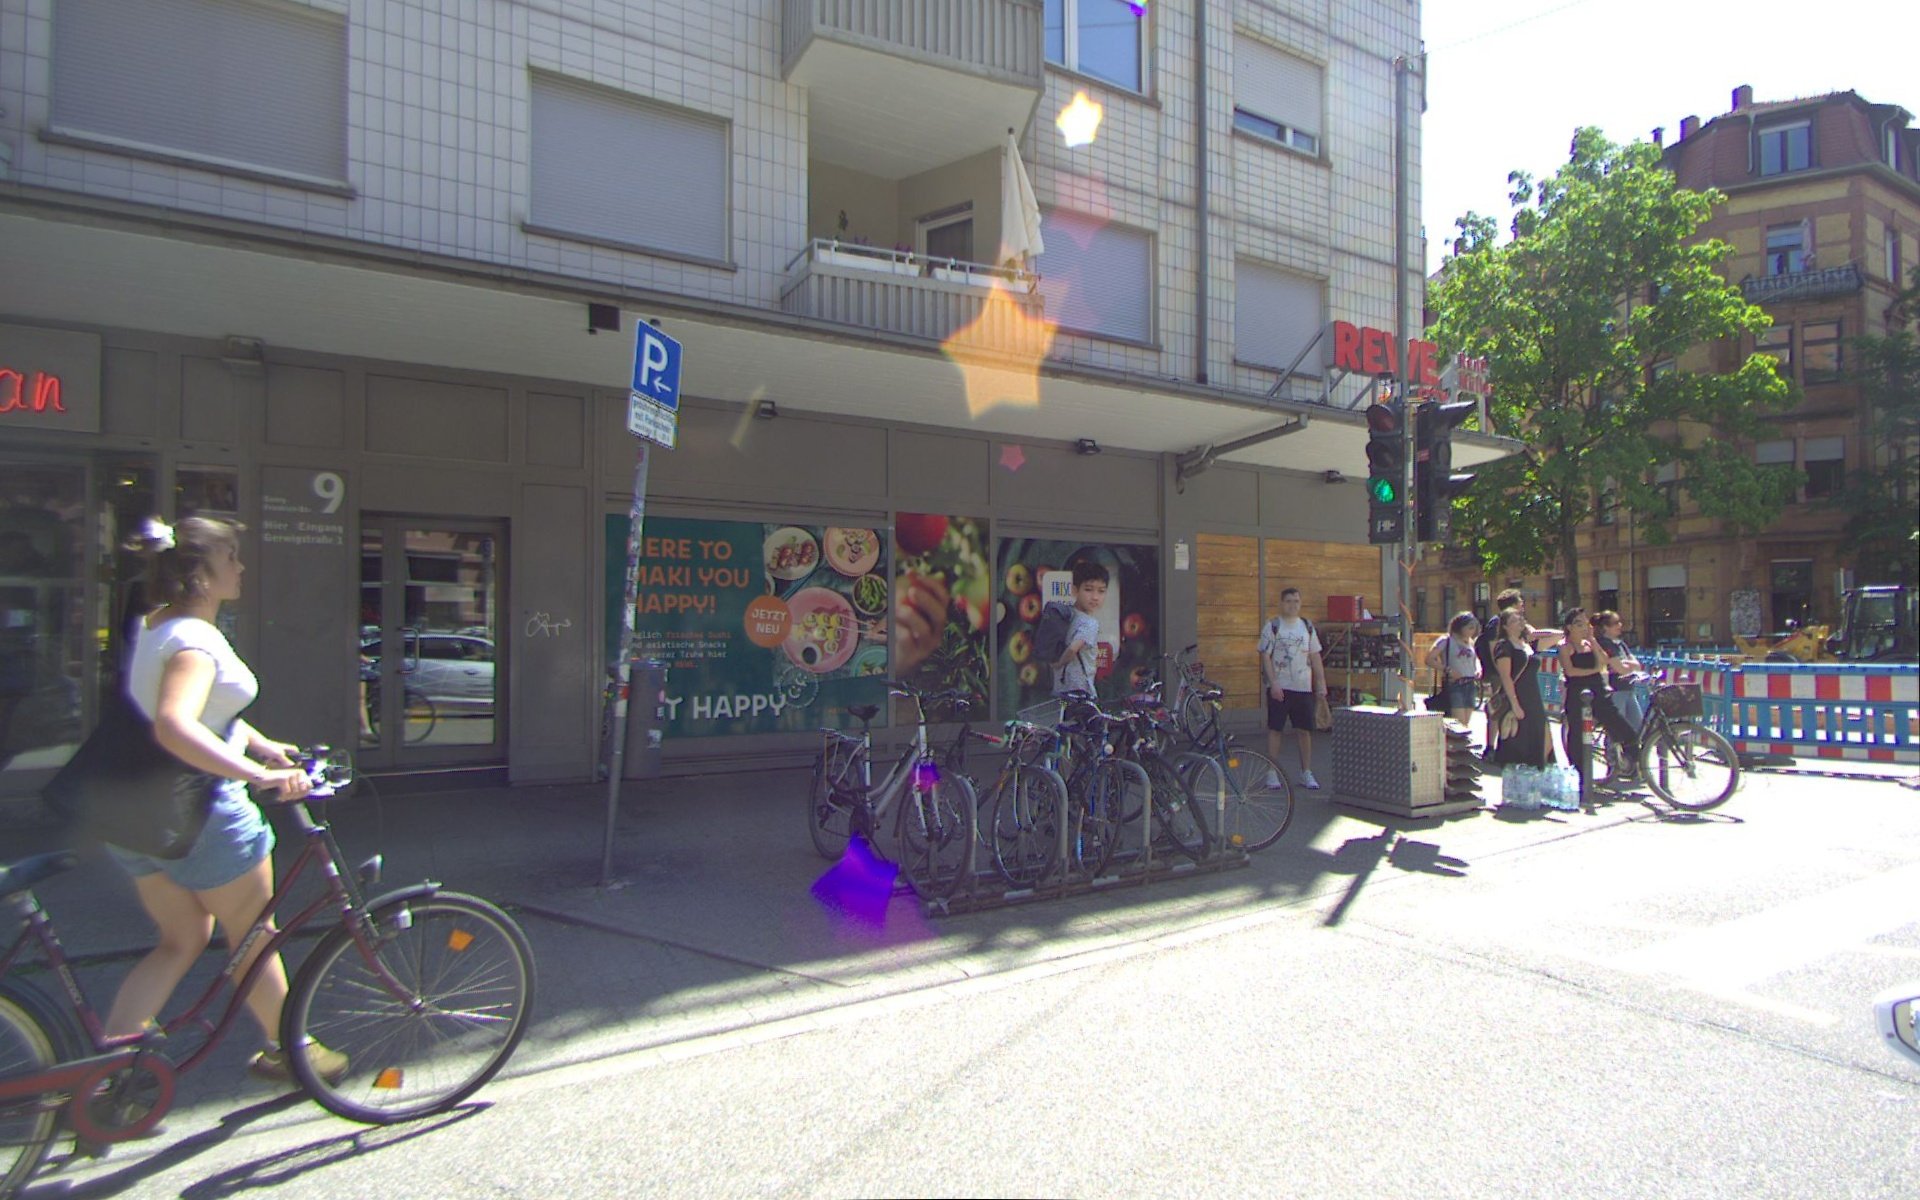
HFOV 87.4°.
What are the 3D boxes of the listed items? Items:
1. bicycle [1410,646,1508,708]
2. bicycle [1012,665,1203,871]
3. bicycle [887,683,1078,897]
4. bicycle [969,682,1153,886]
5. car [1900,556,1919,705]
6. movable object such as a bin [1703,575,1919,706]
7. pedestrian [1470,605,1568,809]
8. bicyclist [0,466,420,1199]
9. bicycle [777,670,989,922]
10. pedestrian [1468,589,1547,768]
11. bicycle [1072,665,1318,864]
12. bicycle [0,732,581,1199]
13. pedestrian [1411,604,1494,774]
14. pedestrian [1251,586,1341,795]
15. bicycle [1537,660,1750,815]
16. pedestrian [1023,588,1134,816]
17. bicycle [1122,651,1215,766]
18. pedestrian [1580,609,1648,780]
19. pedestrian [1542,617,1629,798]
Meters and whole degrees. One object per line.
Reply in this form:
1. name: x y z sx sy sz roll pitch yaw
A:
1. bicycle: 9.043 1.378 18.255 1.553 1.086 0.340 -2 -3 44
2. bicycle: 0.943 1.059 6.756 0.332 1.132 1.510 1 0 -33
3. bicycle: 0.090 1.102 6.239 0.394 1.044 1.485 1 0 -33
4. bicycle: 0.604 1.117 6.487 0.332 1.050 1.439 1 0 -33
5. car: 20.305 0.587 16.580 2.350 2.788 6.594 1 -1 -28
6. movable object such as a bin: 19.759 0.850 22.585 1.932 2.694 4.520 1 -1 -31
7. pedestrian: 4.747 0.882 8.537 0.506 1.654 0.538 1 -2 -32
8. bicyclist: -2.120 0.577 2.765 0.617 1.729 0.972 -2 -2 45
9. bicycle: -0.505 1.045 5.867 0.521 1.154 1.574 1 0 -33
10. pedestrian: 5.853 0.819 10.747 0.593 1.844 0.506 1 -2 -32
11. bicycle: 1.621 1.091 7.222 0.572 1.138 1.786 1 0 -35
12. bicycle: -2.106 1.001 2.747 0.596 1.106 1.927 -2 -2 45
13. pedestrian: 4.974 0.880 10.148 0.593 1.654 0.506 1 -2 -32
14. pedestrian: 3.023 0.792 9.049 0.593 1.794 0.506 1 -2 -32
15. bicycle: 5.984 1.150 8.924 0.459 1.134 1.808 0 0 -8
16. pedestrian: 0.962 0.798 8.193 0.628 1.749 0.650 2 -2 -42
17. bicycle: 2.250 1.125 10.759 0.317 1.101 1.425 -1 -1 41
18. pedestrian: 6.480 0.917 9.950 0.470 1.639 0.387 1 -2 -32
19. pedestrian: 5.669 0.954 9.121 0.450 1.586 0.497 0 0 -4
